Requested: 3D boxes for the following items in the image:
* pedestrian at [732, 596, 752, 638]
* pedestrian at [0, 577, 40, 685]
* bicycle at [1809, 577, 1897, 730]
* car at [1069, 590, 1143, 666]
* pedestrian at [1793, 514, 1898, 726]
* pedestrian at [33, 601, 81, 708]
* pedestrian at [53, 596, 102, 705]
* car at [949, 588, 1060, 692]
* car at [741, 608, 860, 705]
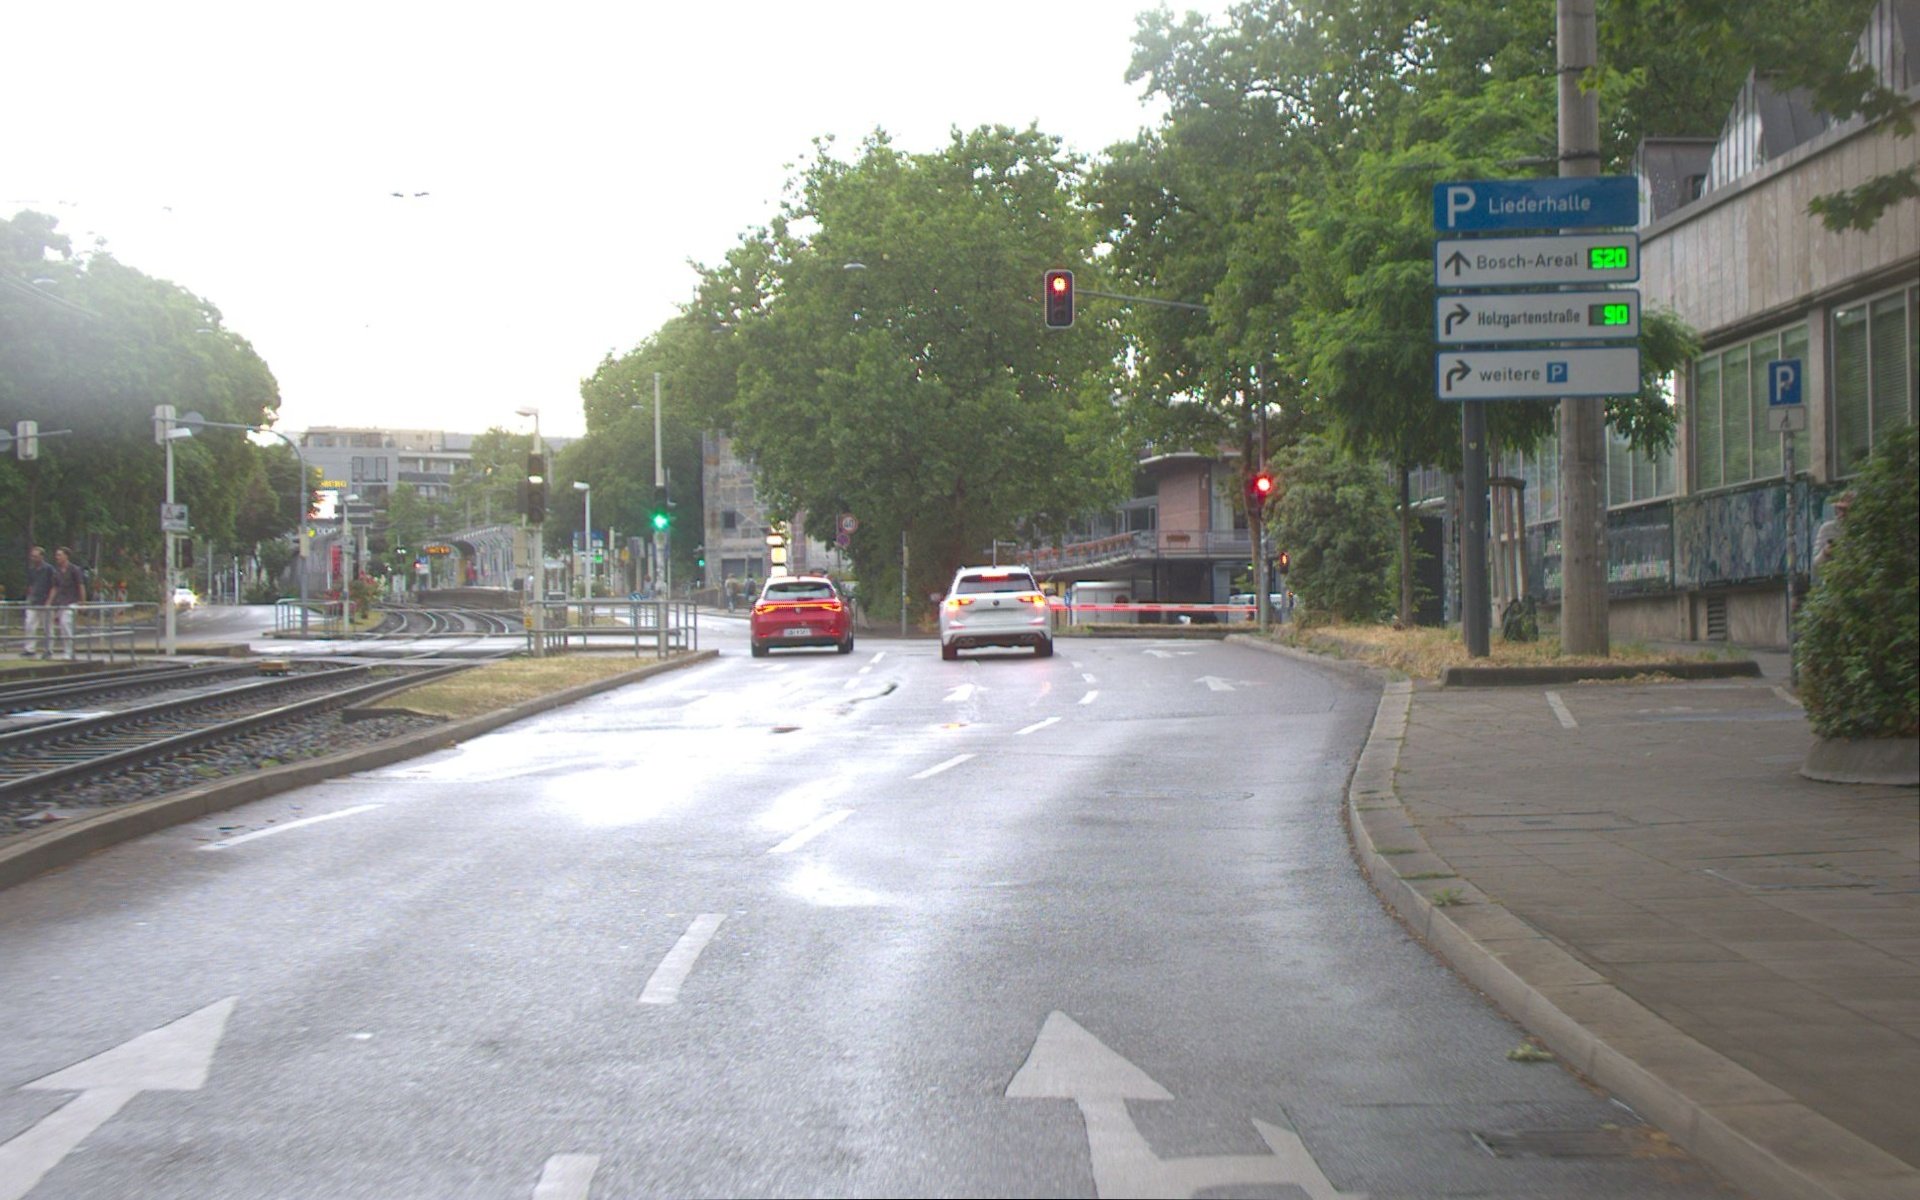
[{"bbox_3d":[-9.538,0.742,150.322,0.756,1.817,0.701,1,-1,-11],"label":"pedestrian"},{"bbox_3d":[-15.807,0.515,57.446,0.639,1.782,0.811,2,-2,-27],"label":"pedestrian"},{"bbox_3d":[7.322,0.432,28.219,0.619,1.216,0.910,-2,0,12],"label":"bicycle"},{"bbox_3d":[6.152,1.224,145.776,2.544,3.123,5.031,1,-1,-4],"label":"car"},{"bbox_3d":[7.501,0.160,29.153,0.718,1.736,1.018,-3,0,12],"label":"pedestrian"},{"bbox_3d":[-15.178,0.916,57.773,0.639,1.782,0.811,2,-2,-22],"label":"pedestrian"},{"bbox_3d":[-14.629,0.841,56.967,0.639,1.782,0.811,2,-2,-22],"label":"pedestrian"},{"bbox_3d":[0.728,0.610,55.224,1.679,1.571,4.253,-1,0,1],"label":"car"},{"bbox_3d":[-2.808,1.014,61.366,1.980,1.634,4.416,1,-1,-1],"label":"car"}]
